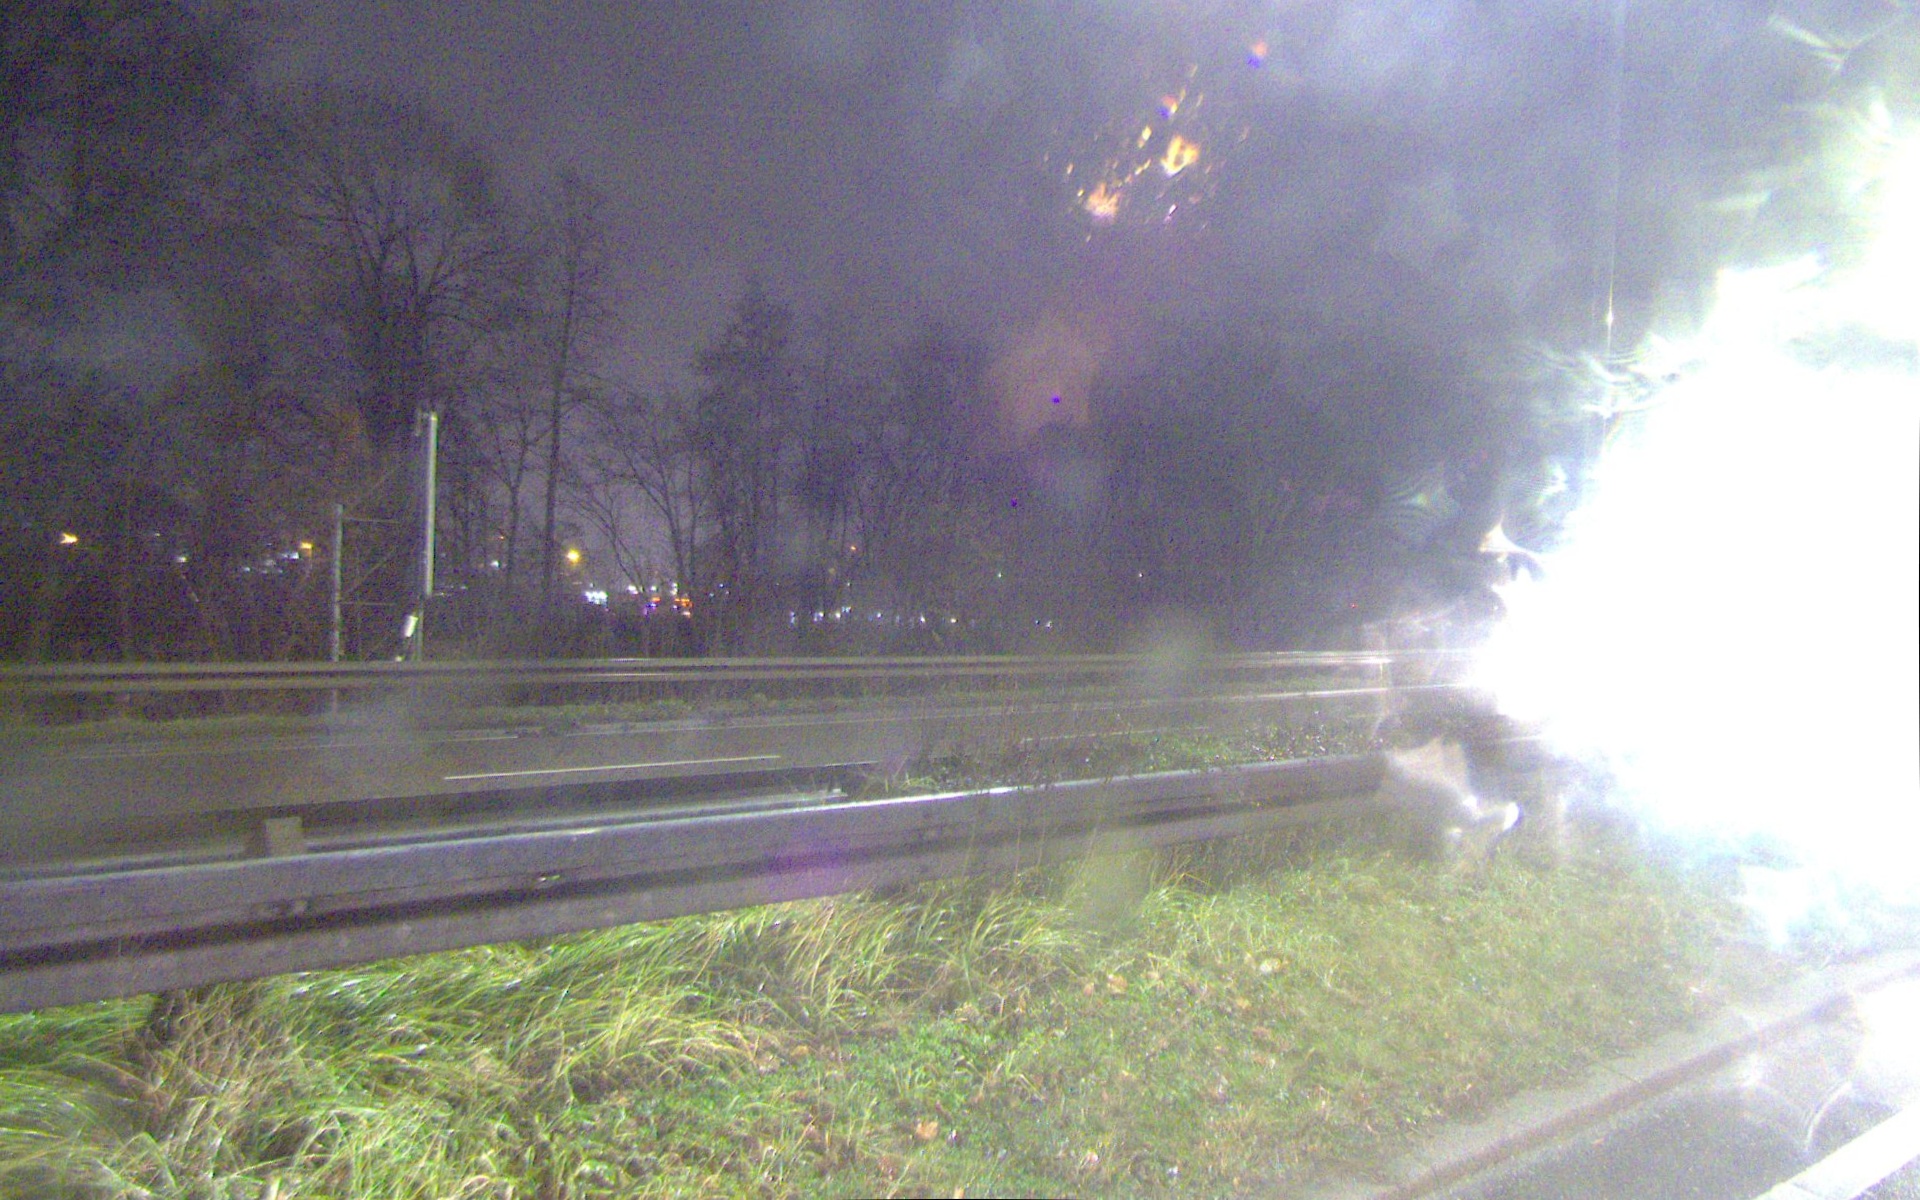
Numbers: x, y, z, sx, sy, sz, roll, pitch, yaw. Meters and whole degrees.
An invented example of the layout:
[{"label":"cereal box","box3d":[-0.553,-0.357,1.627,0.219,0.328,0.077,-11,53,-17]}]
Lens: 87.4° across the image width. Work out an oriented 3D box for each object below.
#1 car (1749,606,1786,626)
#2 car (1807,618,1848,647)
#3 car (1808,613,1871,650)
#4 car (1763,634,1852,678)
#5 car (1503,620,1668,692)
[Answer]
[{"label":"car","box3d":[66.512,1.315,82.793,1.773,1.502,3.809,2,0,30]},{"label":"car","box3d":[52.628,1.920,60.906,1.746,1.653,4.226,0,0,43]},{"label":"car","box3d":[41.112,1.482,46.918,4.219,1.629,1.851,2,-1,-44]},{"label":"car","box3d":[30.422,1.978,35.998,4.629,1.442,1.697,2,-2,-40]},{"label":"car","box3d":[14.874,1.286,23.777,4.801,1.528,1.977,2,-2,-40]}]
